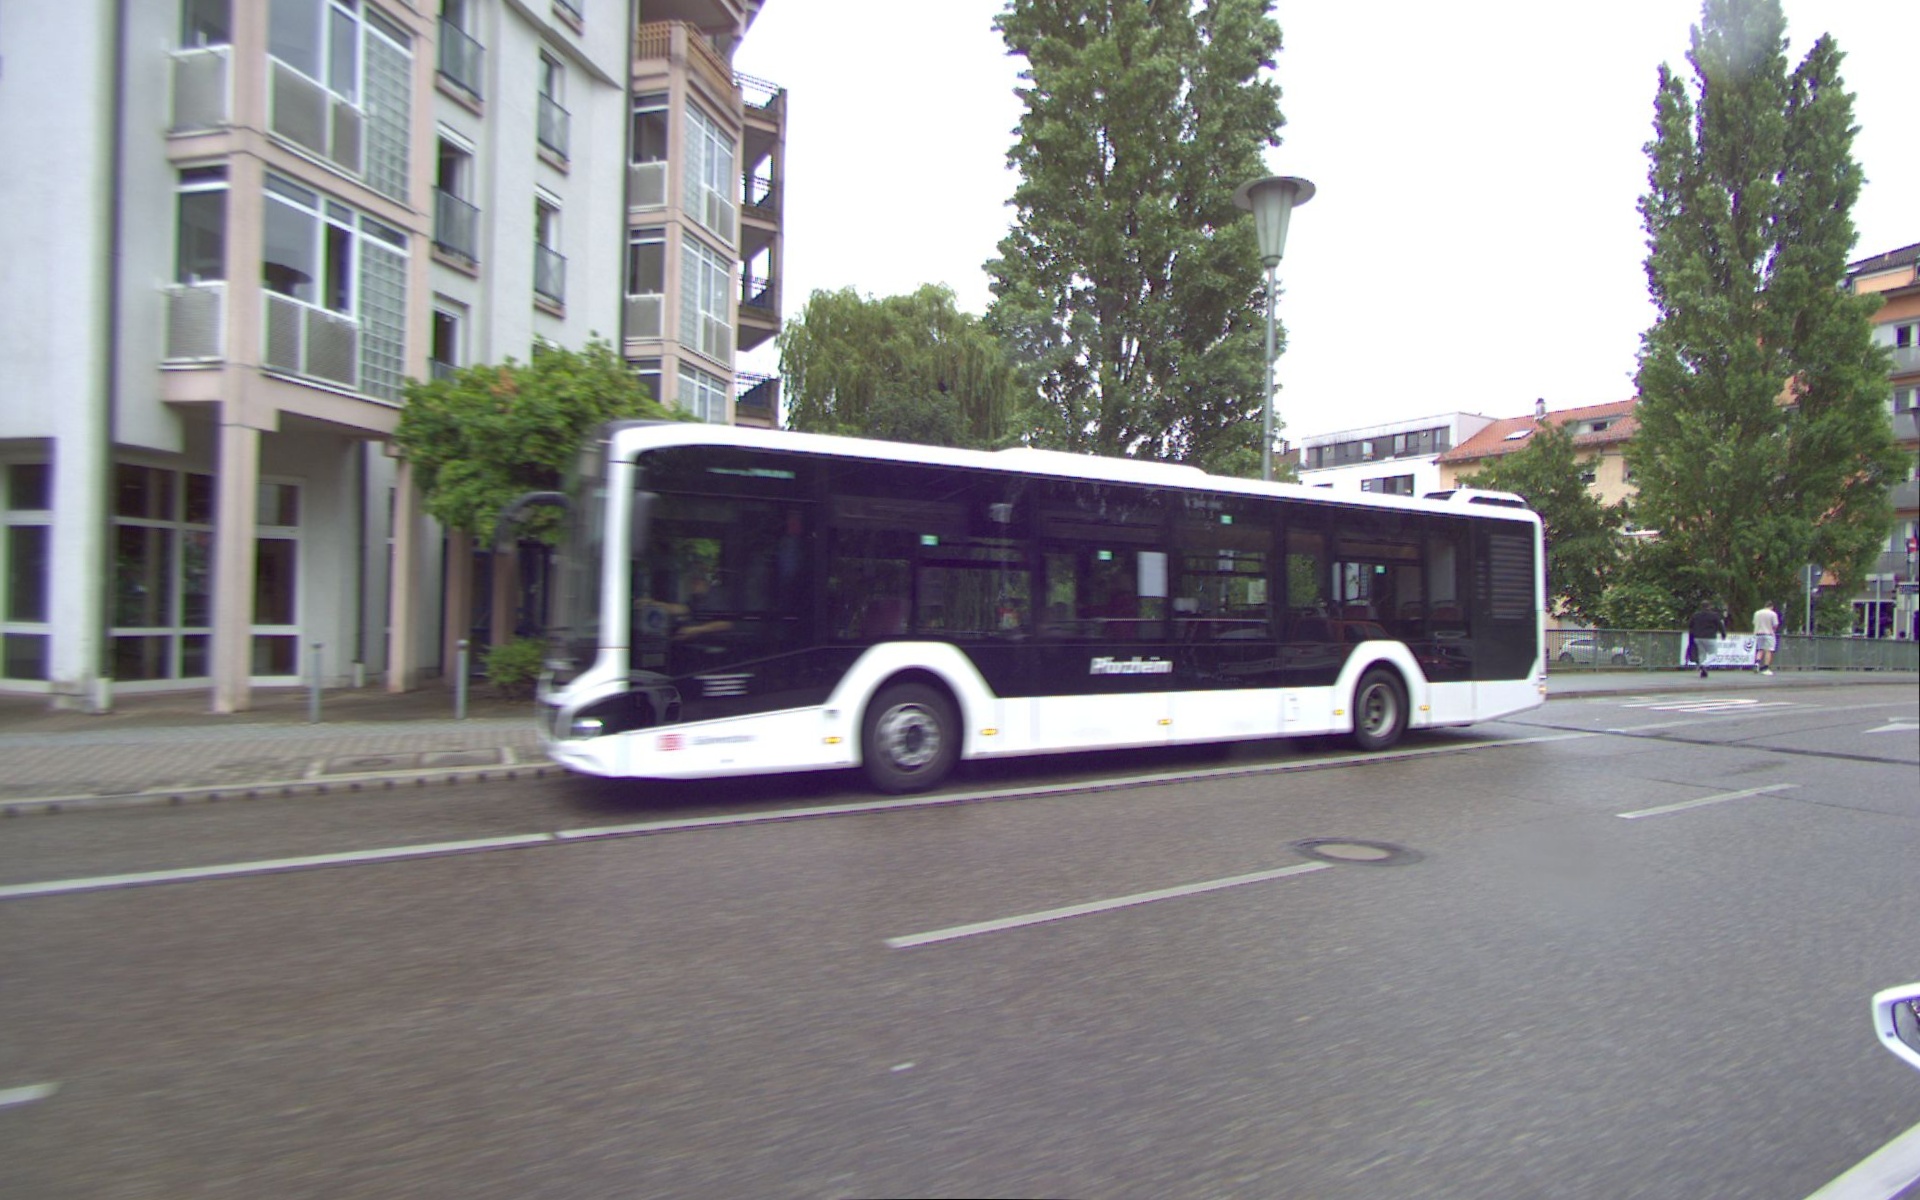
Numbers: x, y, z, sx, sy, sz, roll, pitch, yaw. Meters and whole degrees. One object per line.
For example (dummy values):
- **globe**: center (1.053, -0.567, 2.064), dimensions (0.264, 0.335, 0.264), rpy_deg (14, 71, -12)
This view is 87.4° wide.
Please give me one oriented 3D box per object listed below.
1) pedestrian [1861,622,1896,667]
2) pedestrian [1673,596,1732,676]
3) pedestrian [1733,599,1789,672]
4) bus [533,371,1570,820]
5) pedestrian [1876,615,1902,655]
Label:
- **pedestrian**: center (35.543, 1.732, 38.871), dimensions (0.609, 1.685, 0.800), rpy_deg (3, -2, 6)
- **pedestrian**: center (17.267, 0.832, 23.369), dimensions (0.946, 1.818, 0.695), rpy_deg (2, 1, -27)
- **pedestrian**: center (20.566, 0.900, 25.801), dimensions (0.802, 1.818, 0.794), rpy_deg (2, 1, -27)
- **bus**: center (1.923, -0.022, 11.158), dimensions (12.088, 3.117, 2.732), rpy_deg (0, 1, -30)
- **pedestrian**: center (35.120, 1.333, 37.970), dimensions (0.793, 1.464, 0.646), rpy_deg (4, -2, -41)
